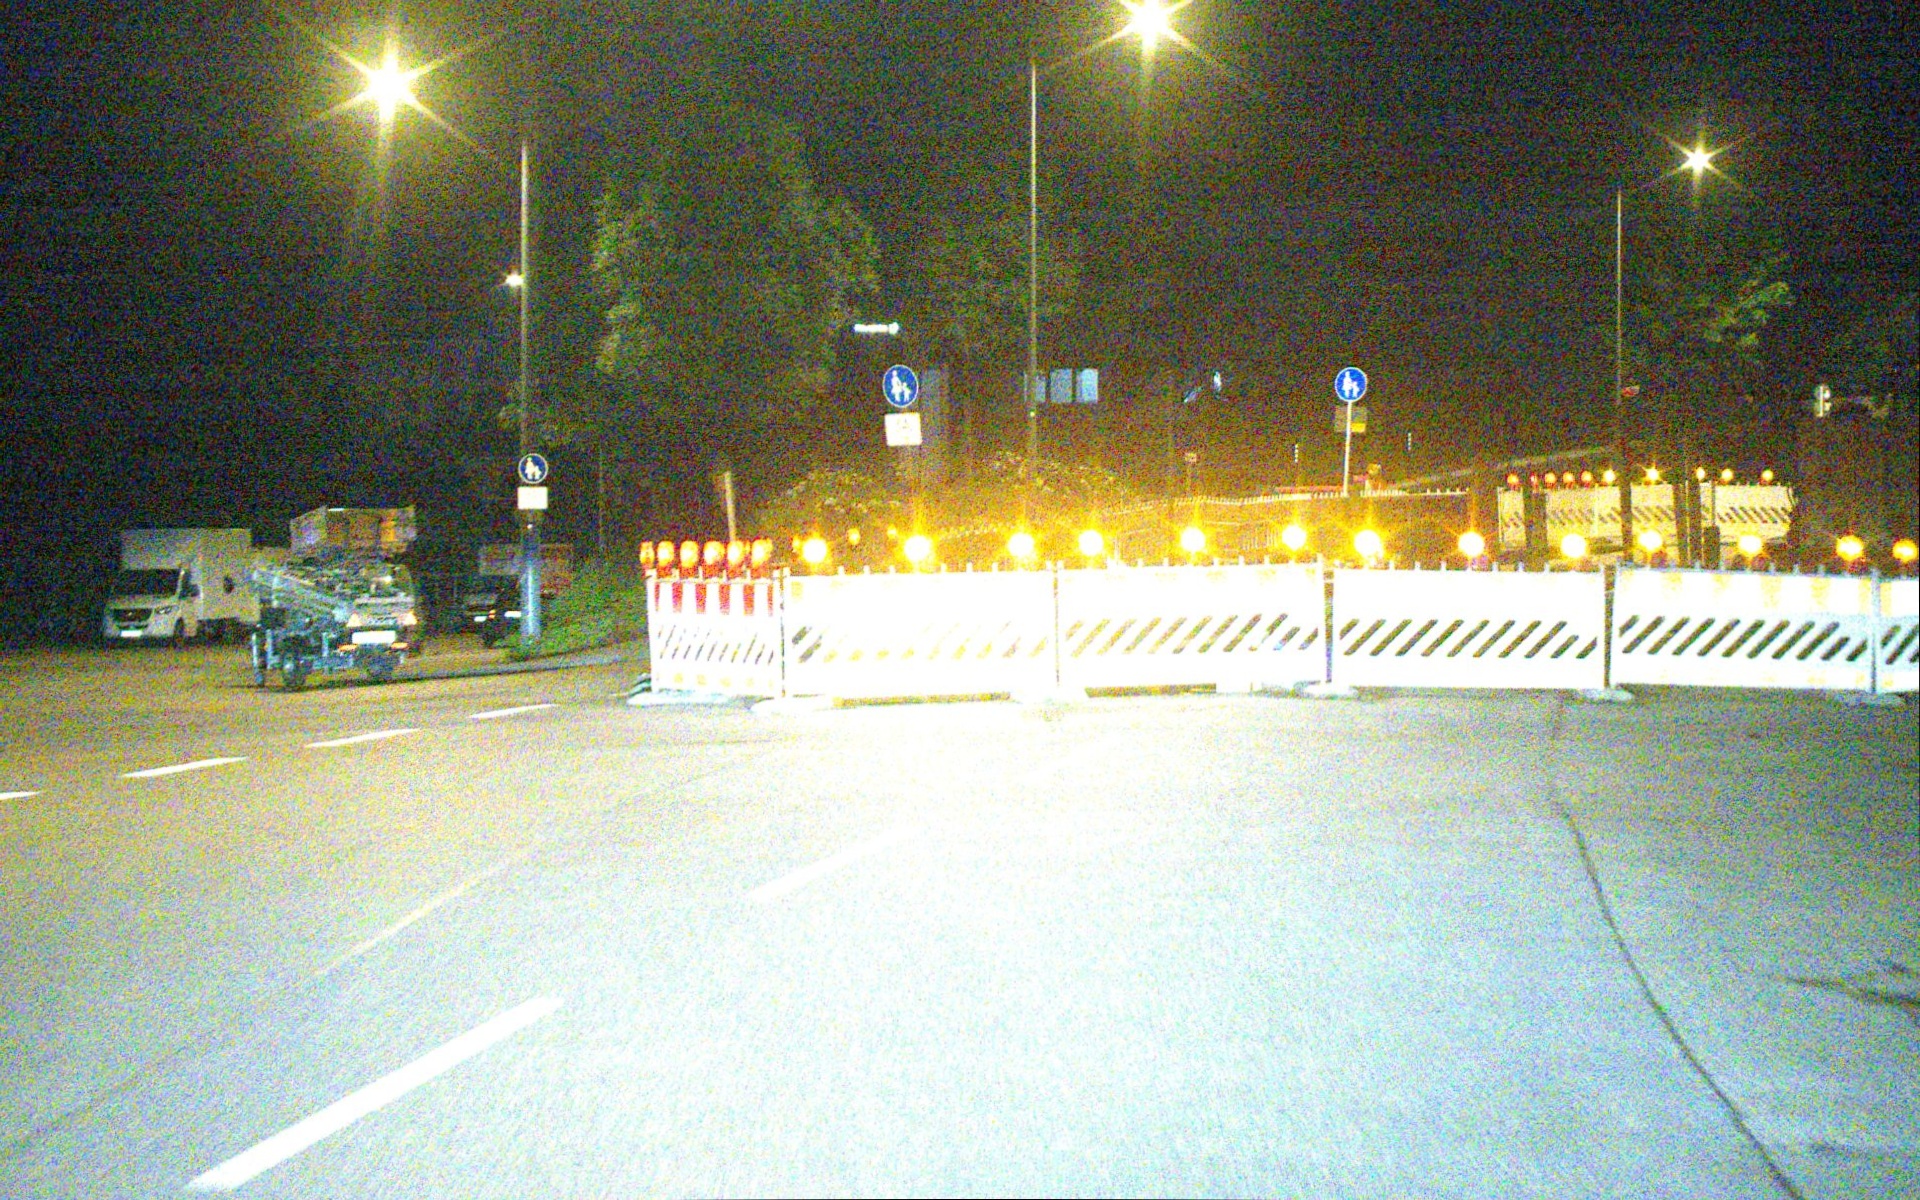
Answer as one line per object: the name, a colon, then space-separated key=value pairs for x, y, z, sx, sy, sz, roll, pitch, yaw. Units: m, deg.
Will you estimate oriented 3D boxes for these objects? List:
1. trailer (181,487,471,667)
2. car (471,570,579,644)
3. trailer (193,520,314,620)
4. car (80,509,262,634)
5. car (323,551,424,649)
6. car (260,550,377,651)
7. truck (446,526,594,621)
trailer: x=-8.181 y=-0.254 z=43.964 sx=1.559 sy=2.153 sz=5.220 roll=-2 pitch=0 yaw=-35
car: x=-11.019 y=0.197 z=87.278 sx=1.721 sy=1.815 sz=3.999 roll=1 pitch=0 yaw=8
trailer: x=-20.342 y=-0.890 z=99.203 sx=1.994 sy=2.803 sz=4.702 roll=0 pitch=1 yaw=7
car: x=-21.192 y=-0.795 z=92.751 sx=2.519 sy=3.160 sz=7.136 roll=-2 pitch=1 yaw=6
car: x=-11.260 y=0.009 z=66.162 sx=1.720 sy=1.815 sz=4.001 roll=1 pitch=0 yaw=-7
car: x=-10.956 y=0.016 z=58.886 sx=1.720 sy=1.655 sz=4.001 roll=1 pitch=0 yaw=-7
truck: x=-16.260 y=-1.024 z=127.689 sx=1.995 sy=3.392 sz=8.972 roll=1 pitch=1 yaw=16
